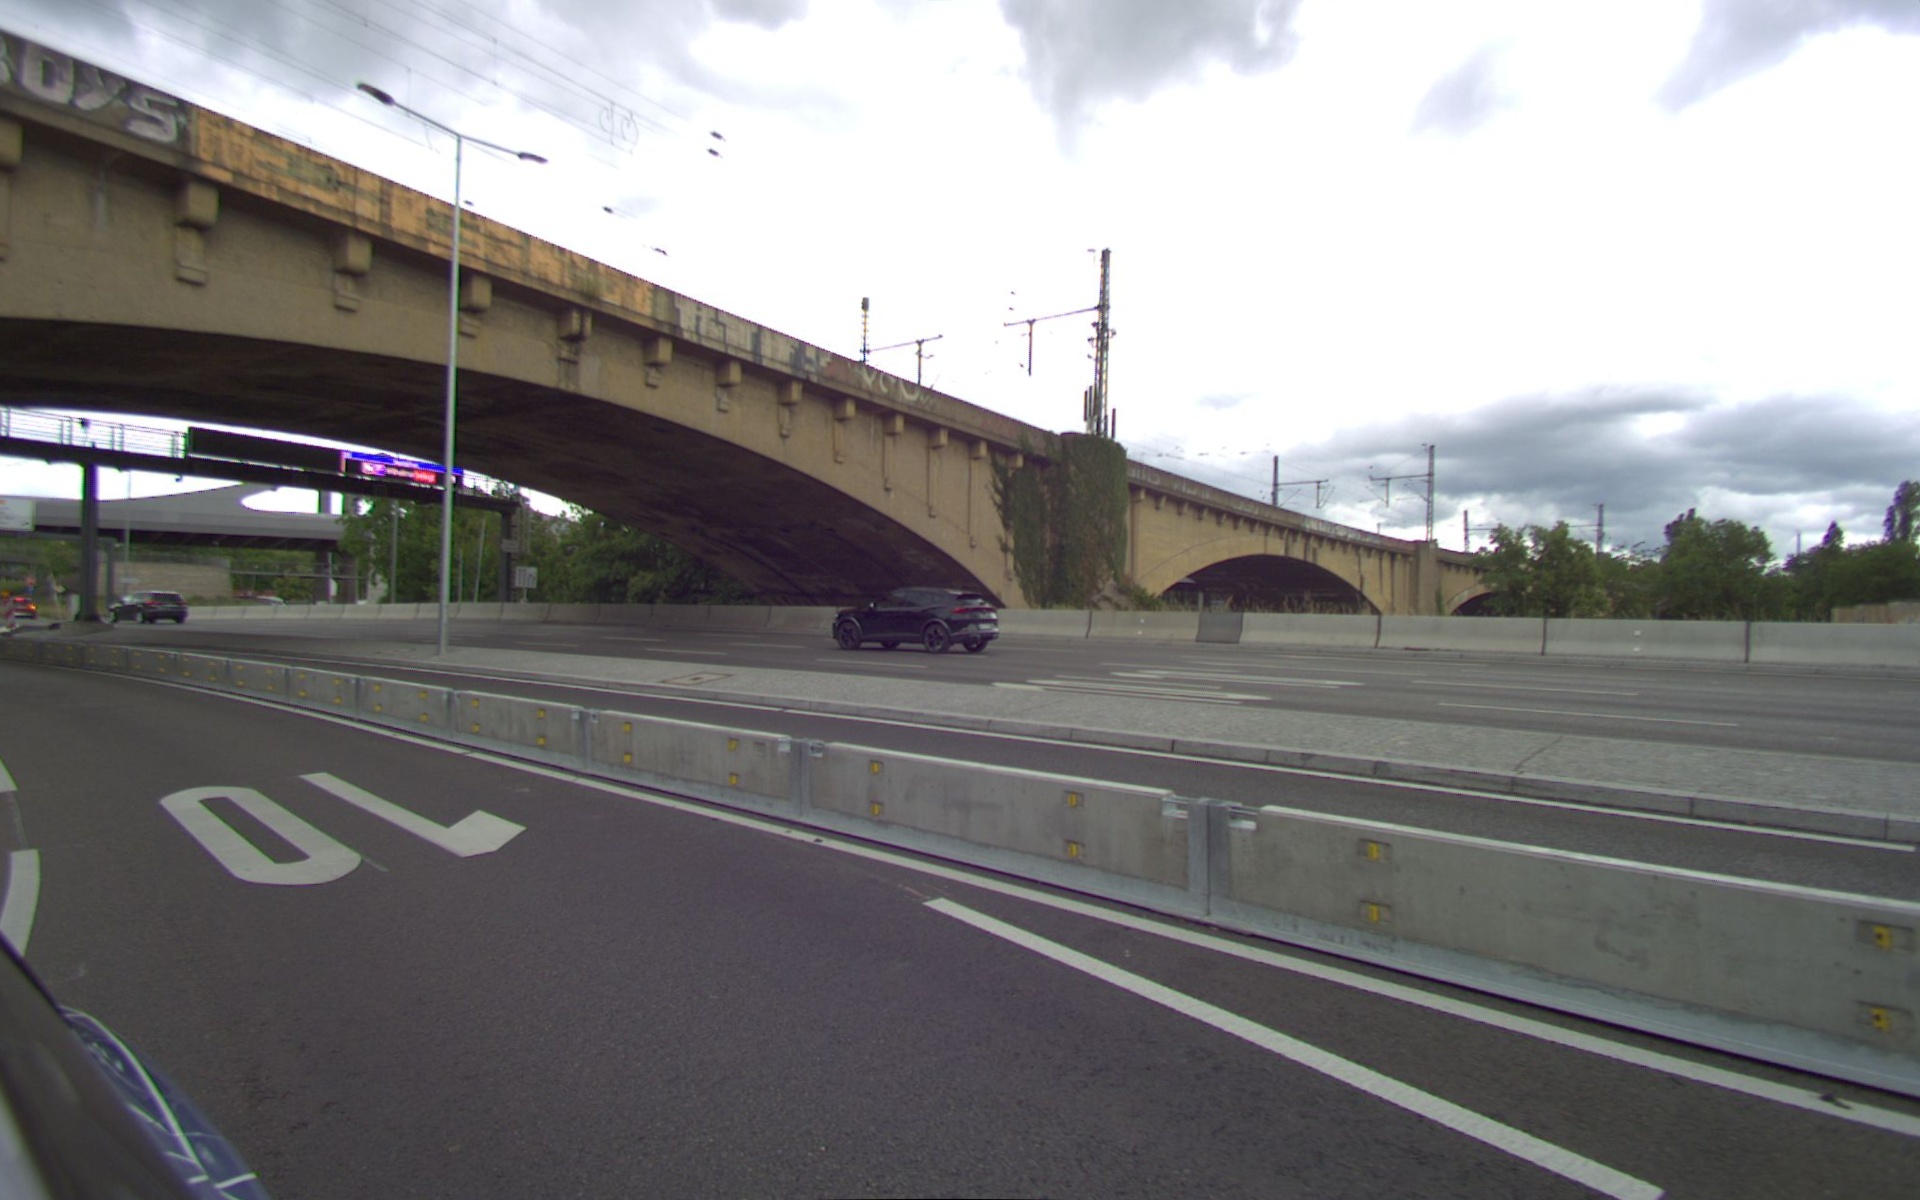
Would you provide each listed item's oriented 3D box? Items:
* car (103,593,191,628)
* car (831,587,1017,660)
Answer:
[{"bbox_3d":[-37.996,0.478,47.279,4.384,1.548,1.805,0,1,30],"label":"car"},{"bbox_3d":[-0.901,0.520,24.327,4.127,1.597,1.976,0,0,35],"label":"car"}]
